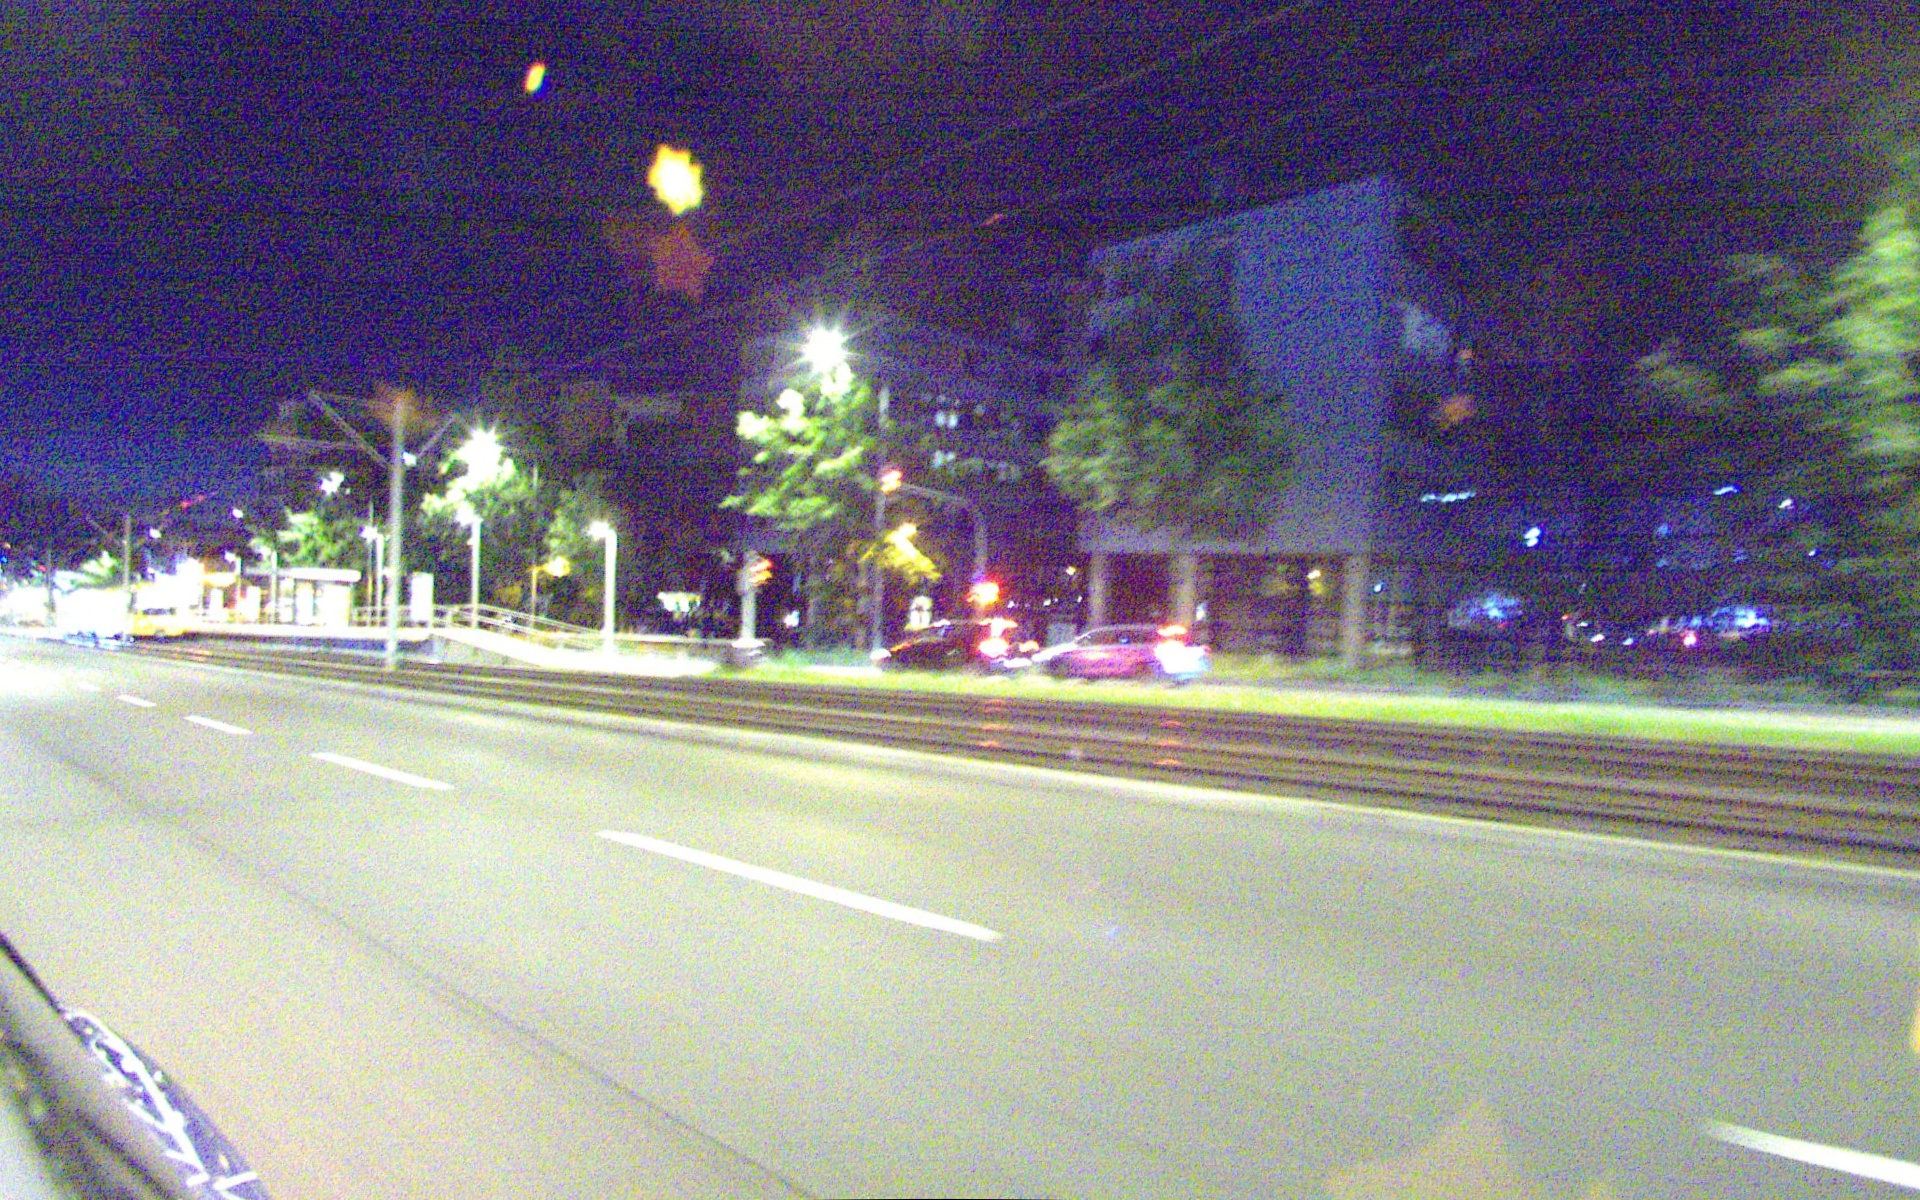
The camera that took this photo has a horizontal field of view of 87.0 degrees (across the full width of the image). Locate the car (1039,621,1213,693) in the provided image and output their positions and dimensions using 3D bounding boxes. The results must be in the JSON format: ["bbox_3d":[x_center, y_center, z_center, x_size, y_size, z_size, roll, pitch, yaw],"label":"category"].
[{"bbox_3d":[3.953,1.312,24.412,3.911,1.528,1.642,0,0,43],"label":"car"}]

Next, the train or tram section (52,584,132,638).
[{"bbox_3d":[-68.549,0.887,79.675,19.364,3.875,2.708,-1,-1,43],"label":"train or tram section"}]

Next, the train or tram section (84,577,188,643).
[{"bbox_3d":[-54.617,0.701,66.720,18.669,3.856,2.729,-1,-1,43],"label":"train or tram section"}]

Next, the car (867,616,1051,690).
[{"bbox_3d":[-0.074,1.192,24.056,4.169,1.508,1.767,1,0,38],"label":"car"}]
